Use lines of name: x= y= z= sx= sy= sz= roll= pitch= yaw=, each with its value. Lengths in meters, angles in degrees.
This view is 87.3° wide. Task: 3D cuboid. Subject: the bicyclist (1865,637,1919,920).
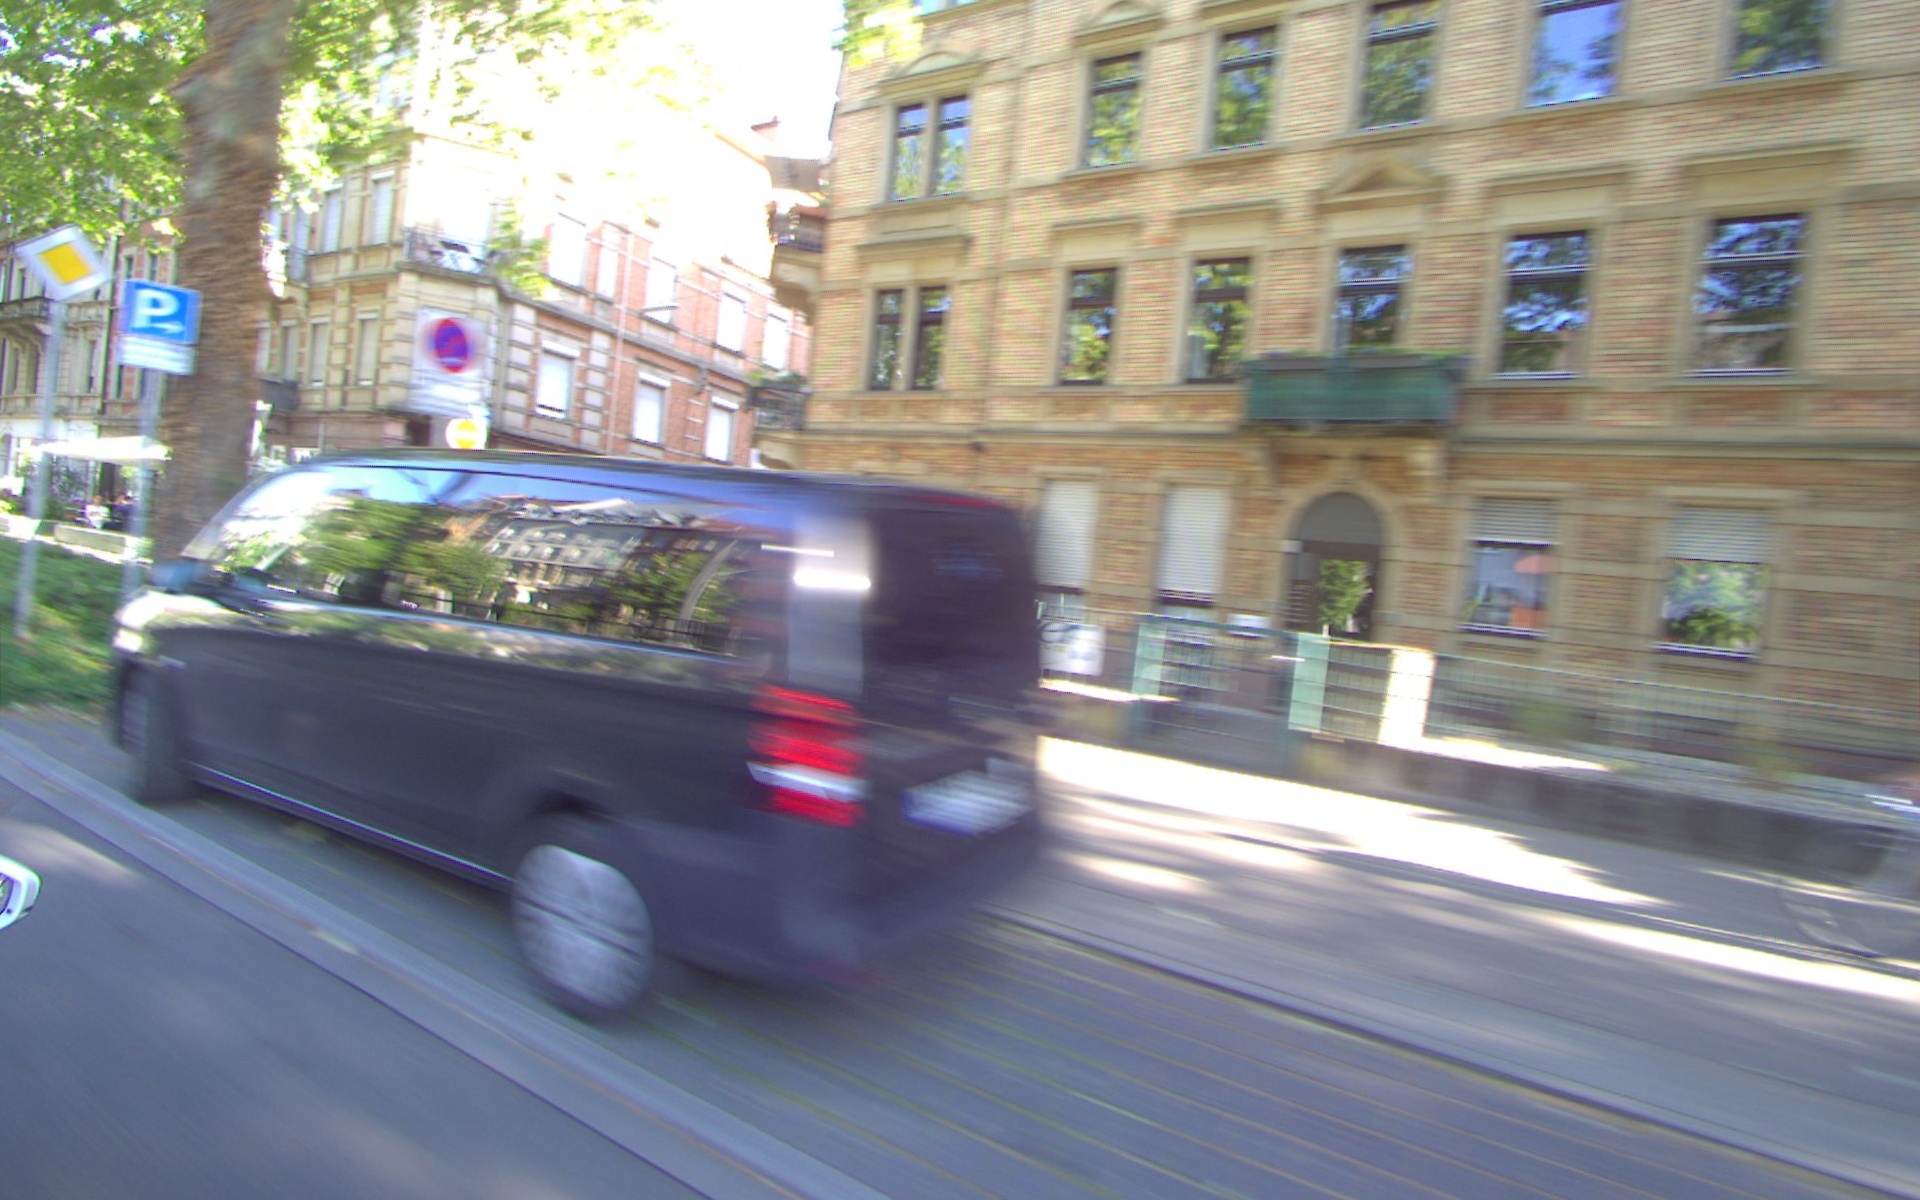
bicyclist: x=5.123 y=0.919 z=5.025 sx=0.633 sy=1.398 sz=0.543 roll=8 pitch=2 yaw=30

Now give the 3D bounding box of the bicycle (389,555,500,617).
bicycle: x=-8.971 y=-0.228 z=17.587 sx=0.591 sy=0.928 sz=1.696 roll=7 pitch=0 yaw=20

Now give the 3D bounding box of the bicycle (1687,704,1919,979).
bicycle: x=5.091 y=1.302 z=5.027 sx=2.188 sy=1.193 sz=0.561 roll=8 pitch=2 yaw=30

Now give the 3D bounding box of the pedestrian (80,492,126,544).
pedestrian: x=-23.724 y=-2.263 z=27.854 sx=0.652 sy=1.316 sz=0.713 roll=7 pitch=1 yaw=32

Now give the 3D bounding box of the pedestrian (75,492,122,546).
pedestrian: x=-23.065 y=-2.154 z=26.939 sx=0.651 sy=1.316 sz=0.713 roll=7 pitch=1 yaw=31

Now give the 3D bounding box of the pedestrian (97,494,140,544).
pedestrian: x=-24.325 y=-2.339 z=29.085 sx=0.652 sy=1.316 sz=0.713 roll=7 pitch=1 yaw=33

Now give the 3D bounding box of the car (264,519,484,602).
car: x=-13.423 y=-0.857 z=23.285 sx=1.713 sy=1.382 sz=3.994 roll=9 pitch=1 yaw=28

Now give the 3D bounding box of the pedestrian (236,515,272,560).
pedestrian: x=-19.010 y=-1.672 z=27.099 sx=0.517 sy=1.116 sz=0.557 roll=7 pitch=1 yaw=31

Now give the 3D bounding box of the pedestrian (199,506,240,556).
pedestrian: x=-21.513 y=-1.997 z=29.227 sx=0.703 sy=1.316 sz=0.661 roll=7 pitch=1 yaw=31

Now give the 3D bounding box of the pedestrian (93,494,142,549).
pedestrian: x=-21.997 y=-2.041 z=26.264 sx=0.651 sy=1.316 sz=0.713 roll=7 pitch=1 yaw=31

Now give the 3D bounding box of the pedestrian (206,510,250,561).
pedestrian: x=-20.873 y=-1.841 z=28.694 sx=0.651 sy=1.316 sz=0.713 roll=7 pitch=1 yaw=31

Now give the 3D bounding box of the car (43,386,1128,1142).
car: x=-2.059 y=0.229 z=4.859 sx=5.114 sy=2.039 sz=1.995 roll=7 pitch=1 yaw=30
